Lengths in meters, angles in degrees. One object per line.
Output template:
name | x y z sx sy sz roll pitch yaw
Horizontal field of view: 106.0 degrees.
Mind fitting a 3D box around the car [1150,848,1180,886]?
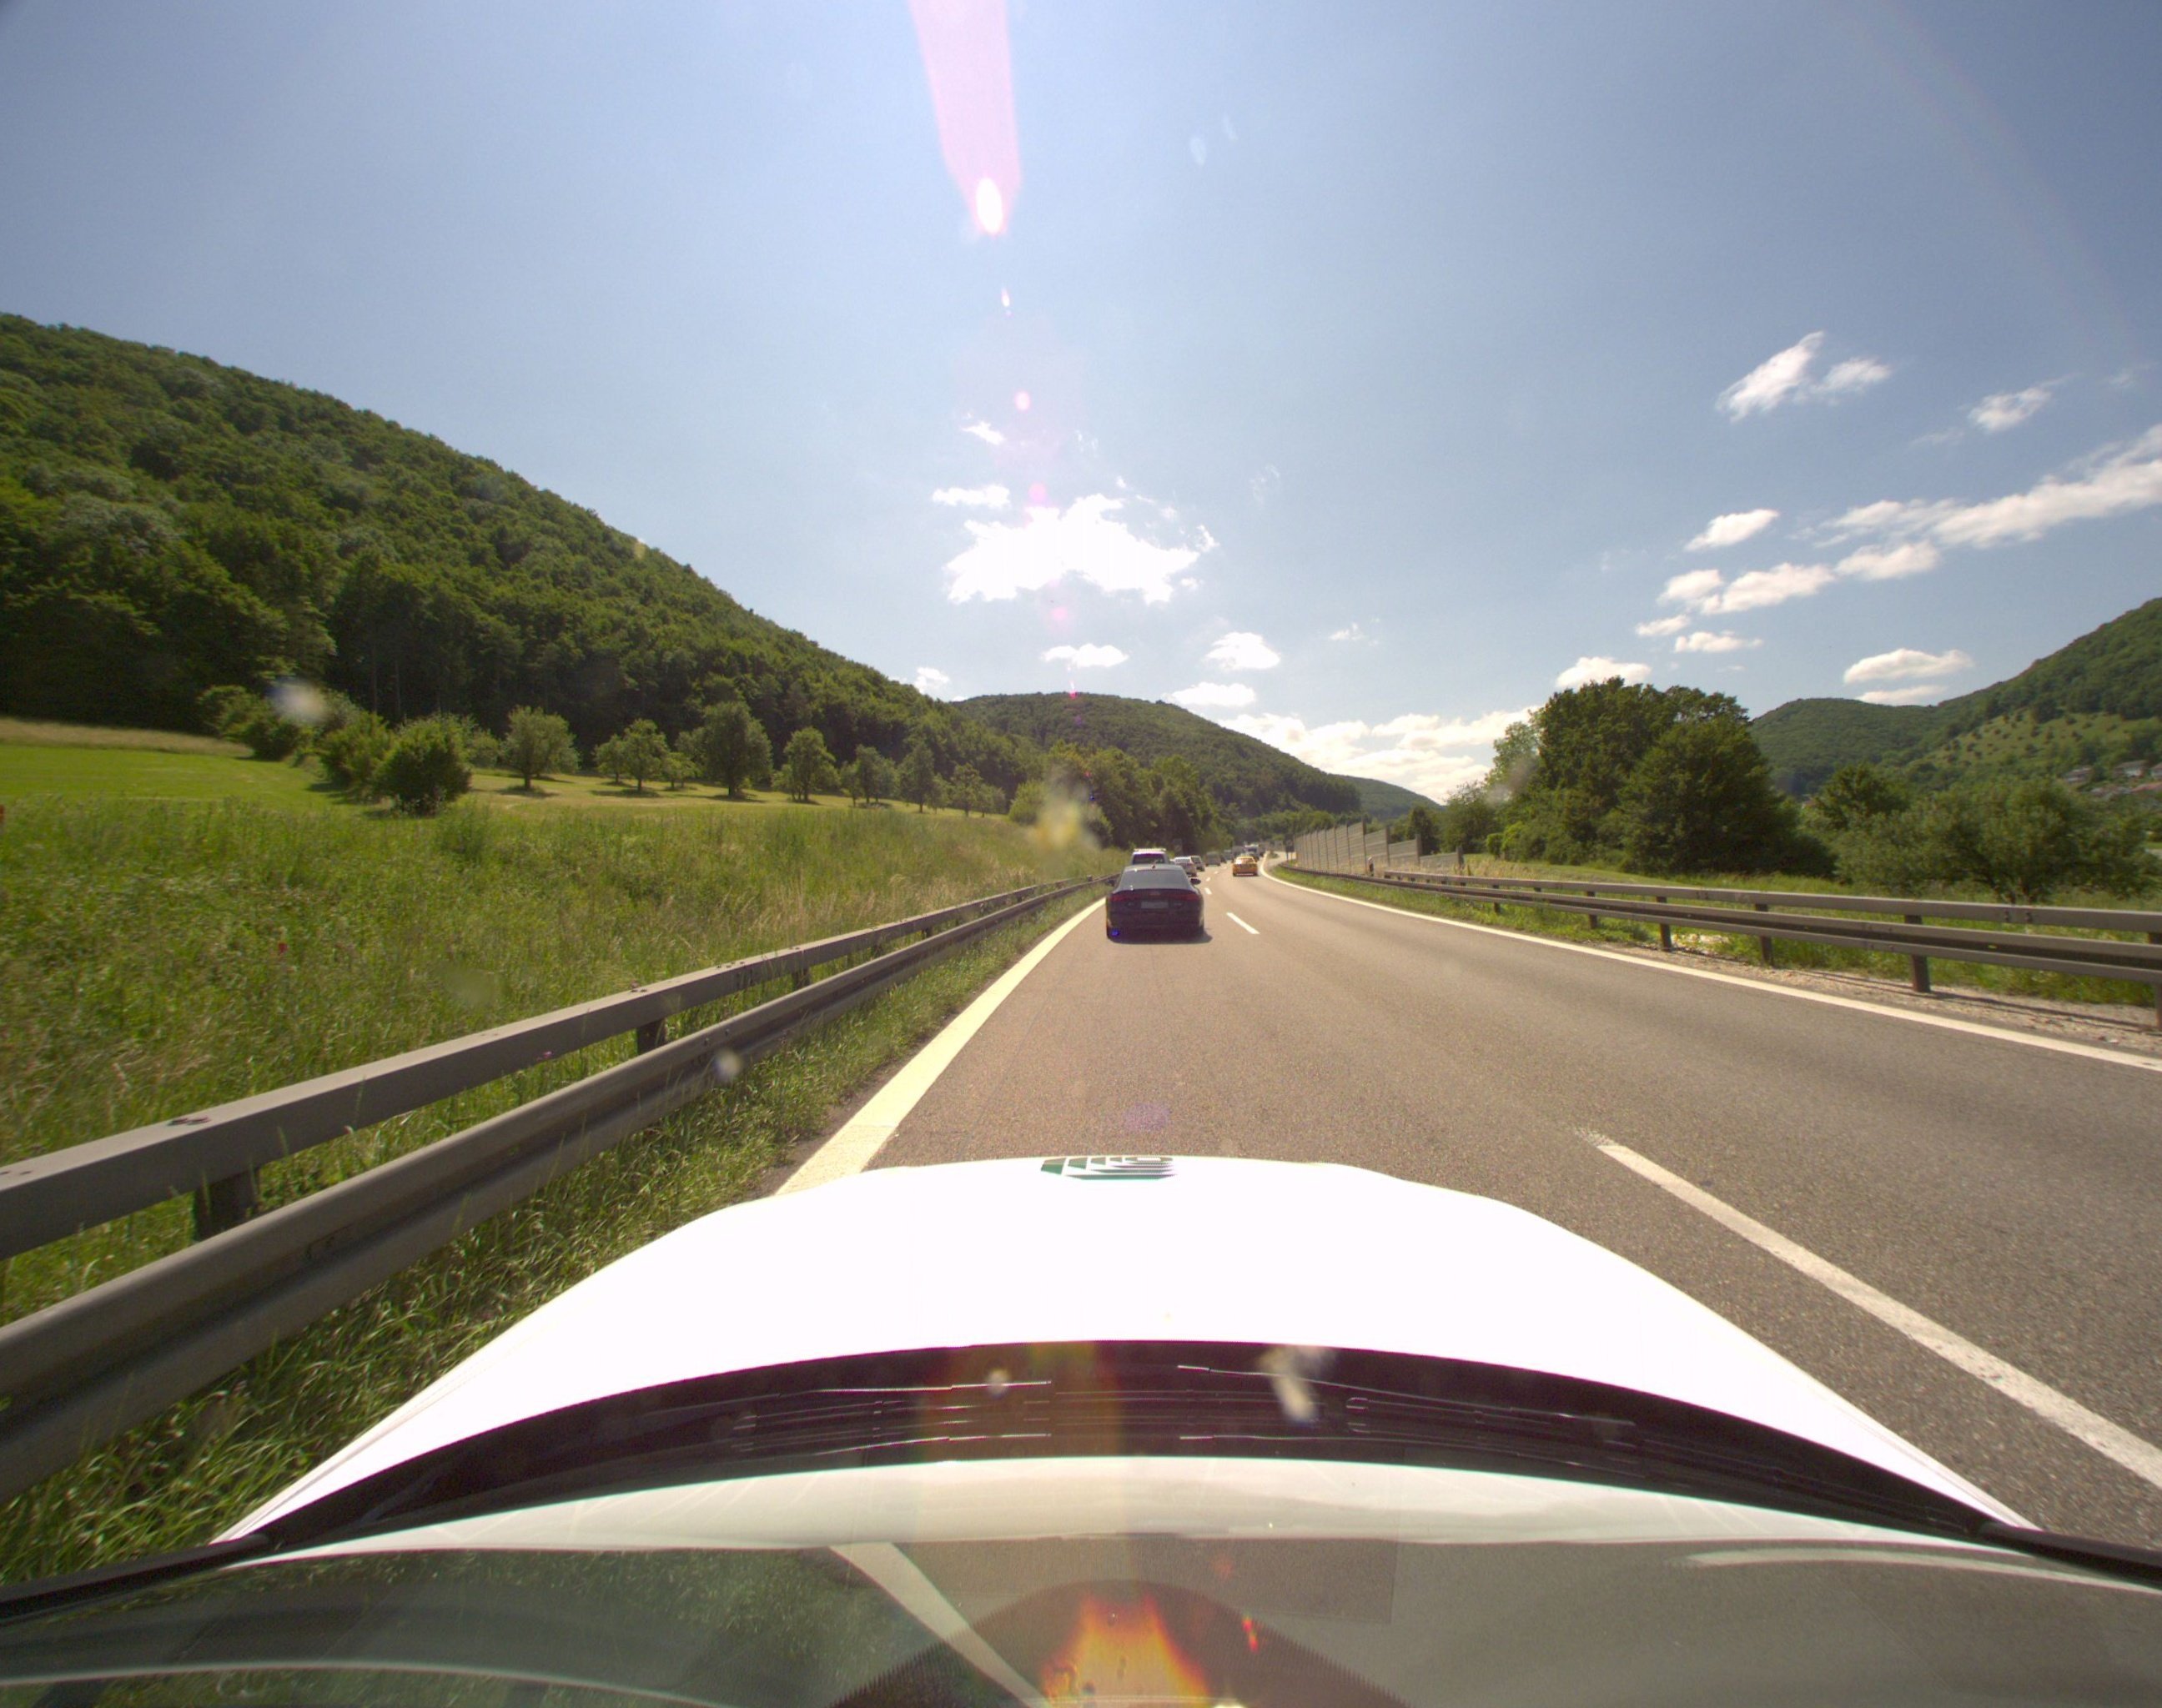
car | 4.551 0.687 43.808 1.531 1.925 3.485 -1 -1 7

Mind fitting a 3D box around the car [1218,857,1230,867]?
car | 21.671 1.231 123.509 1.510 1.553 3.529 0 0 16

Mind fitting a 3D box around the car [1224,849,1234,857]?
car | 26.636 -0.191 146.220 1.510 1.553 3.528 0 0 15

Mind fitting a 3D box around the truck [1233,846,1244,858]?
truck | 36.094 -0.496 186.822 2.049 2.605 5.636 0 0 15

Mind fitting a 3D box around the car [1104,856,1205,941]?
car | 1.507 0.821 16.478 1.803 1.514 3.520 -1 0 6

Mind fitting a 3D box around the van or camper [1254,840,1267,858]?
van or camper | 40.507 -1.181 183.604 2.777 3.907 6.186 -1 -1 11

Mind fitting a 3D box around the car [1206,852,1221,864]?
car | 16.847 0.511 103.348 1.510 1.553 3.528 0 0 15

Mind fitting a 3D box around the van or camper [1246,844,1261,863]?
van or camper | 29.710 -0.118 140.395 2.412 3.155 5.222 -1 -1 13

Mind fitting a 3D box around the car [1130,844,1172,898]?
car | 2.760 0.615 31.764 1.513 1.968 3.520 0 0 6

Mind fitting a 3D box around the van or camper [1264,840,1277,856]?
van or camper | 45.524 -1.442 196.141 2.777 3.841 6.186 -1 -1 11

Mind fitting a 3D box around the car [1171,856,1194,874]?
car | 7.683 0.823 61.557 1.511 1.294 3.525 -1 0 11

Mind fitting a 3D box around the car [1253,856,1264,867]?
car | 26.970 1.168 123.769 1.477 1.570 3.011 -1 -1 13

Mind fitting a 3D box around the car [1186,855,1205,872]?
car | 10.955 0.917 77.756 1.510 1.553 3.527 0 0 14

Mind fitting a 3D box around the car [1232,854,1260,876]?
car | 12.374 0.823 61.029 1.866 1.499 4.015 -2 0 13
